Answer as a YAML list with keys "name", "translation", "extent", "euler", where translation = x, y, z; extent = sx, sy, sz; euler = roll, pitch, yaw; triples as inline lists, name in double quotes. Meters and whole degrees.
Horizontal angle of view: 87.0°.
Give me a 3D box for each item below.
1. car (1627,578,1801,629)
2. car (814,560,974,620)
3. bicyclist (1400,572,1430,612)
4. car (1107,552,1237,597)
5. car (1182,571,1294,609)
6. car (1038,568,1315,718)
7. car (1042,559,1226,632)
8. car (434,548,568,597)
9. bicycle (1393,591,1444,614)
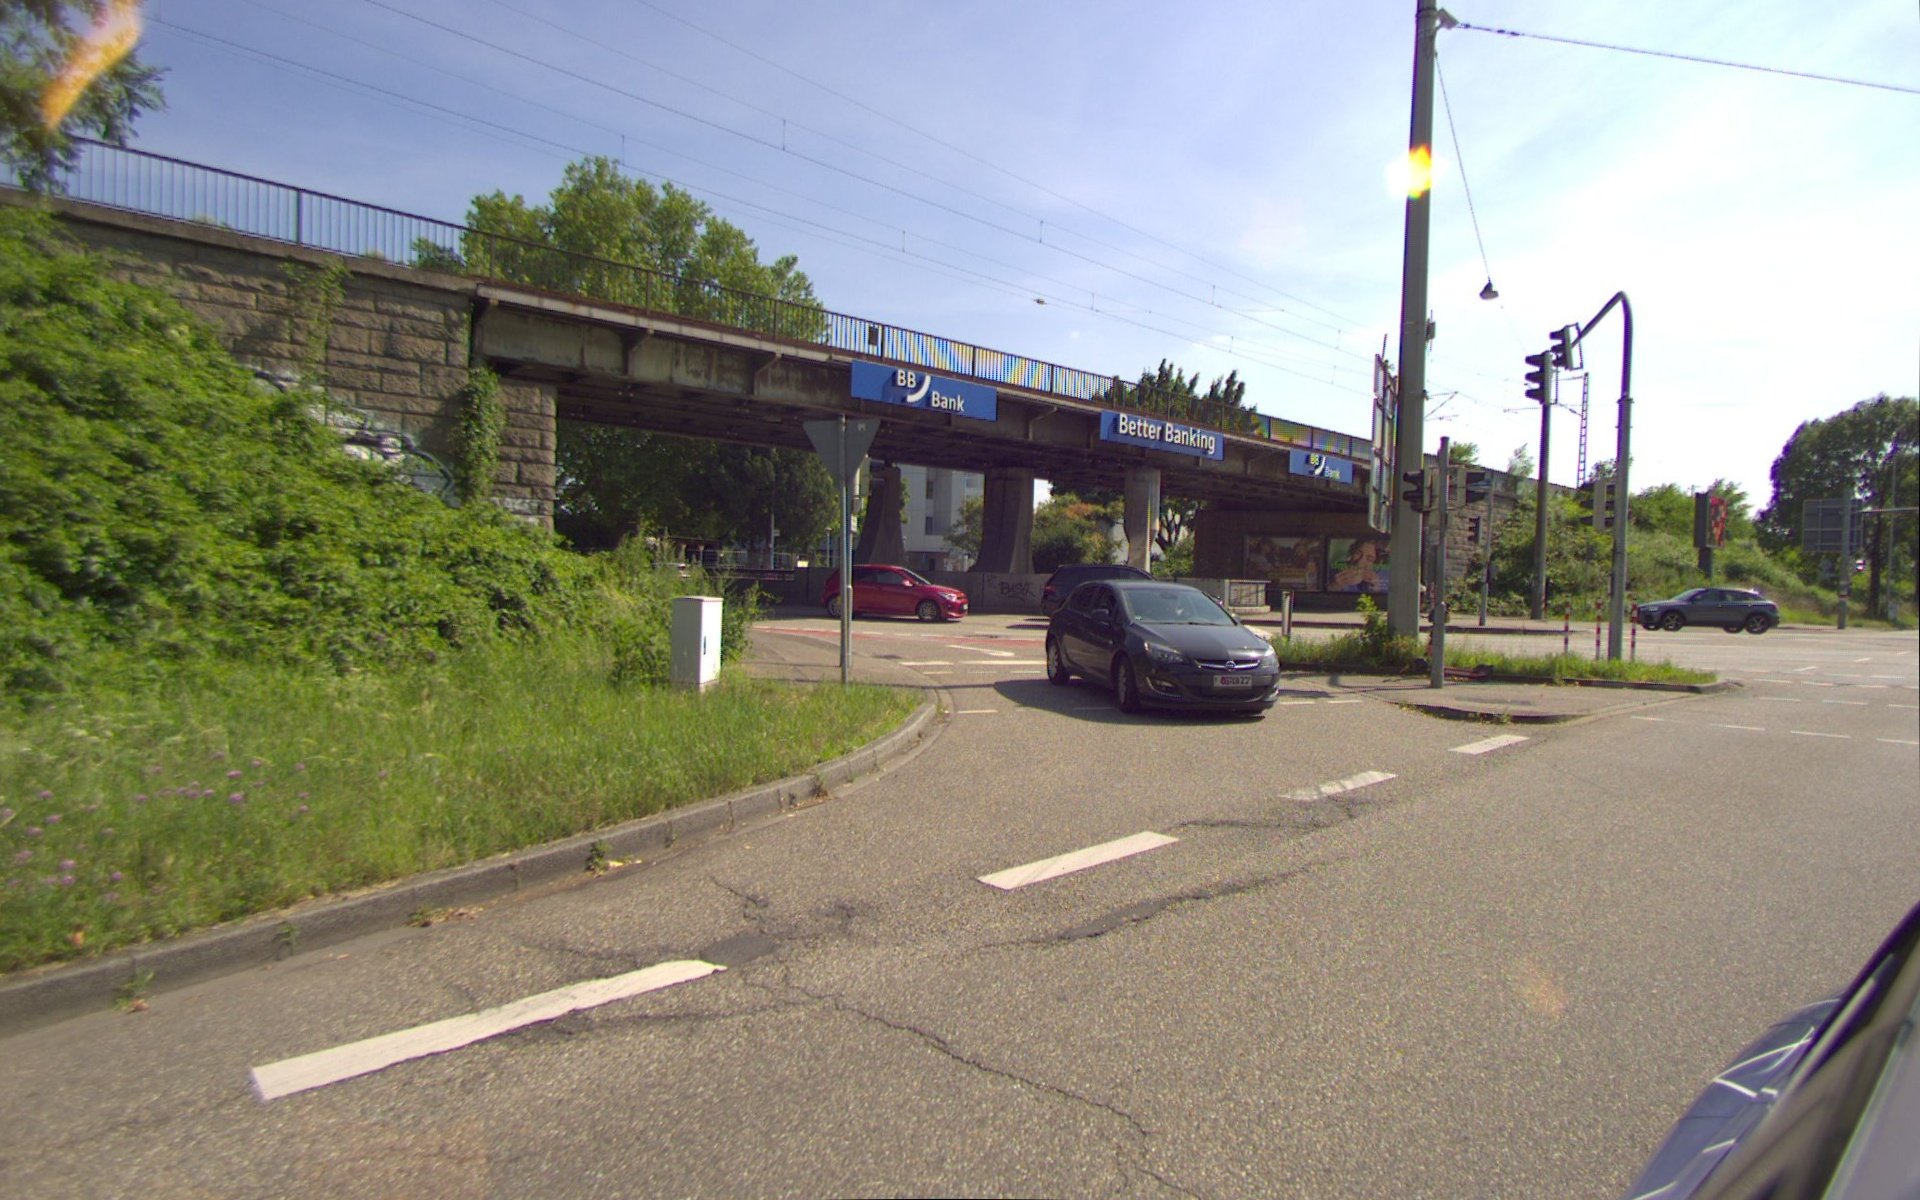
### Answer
- name: "car"
  translation: [26.467, 0.095, 35.696]
  extent: [4.495, 1.569, 1.822]
  euler: [2, 1, 15]
- name: "car"
  translation: [-1.744, -0.301, 27.194]
  extent: [3.943, 1.437, 1.700]
  euler: [2, 1, 15]
- name: "bicyclist"
  translation: [19.466, -0.324, 43.278]
  extent: [1.055, 1.654, 0.801]
  euler: [2, -1, 20]
- name: "car"
  translation: [8.404, -1.011, 40.202]
  extent: [4.902, 1.628, 1.941]
  euler: [2, 1, 14]
- name: "car"
  translation: [11.486, -0.427, 42.092]
  extent: [4.374, 1.409, 1.710]
  euler: [2, 1, 13]
- name: "car"
  translation: [2.433, 0.395, 12.580]
  extent: [1.790, 1.525, 4.225]
  euler: [1, 2, -11]
- name: "car"
  translation: [4.390, -0.146, 25.631]
  extent: [4.376, 1.616, 1.994]
  euler: [2, 1, 12]
- name: "car"
  translation: [-15.151, -0.916, 33.444]
  extent: [3.947, 1.460, 1.683]
  euler: [2, 1, 18]
- name: "bicycle"
  translation: [19.571, 0.120, 43.232]
  extent: [1.902, 0.904, 0.812]
  euler: [2, -1, 20]
